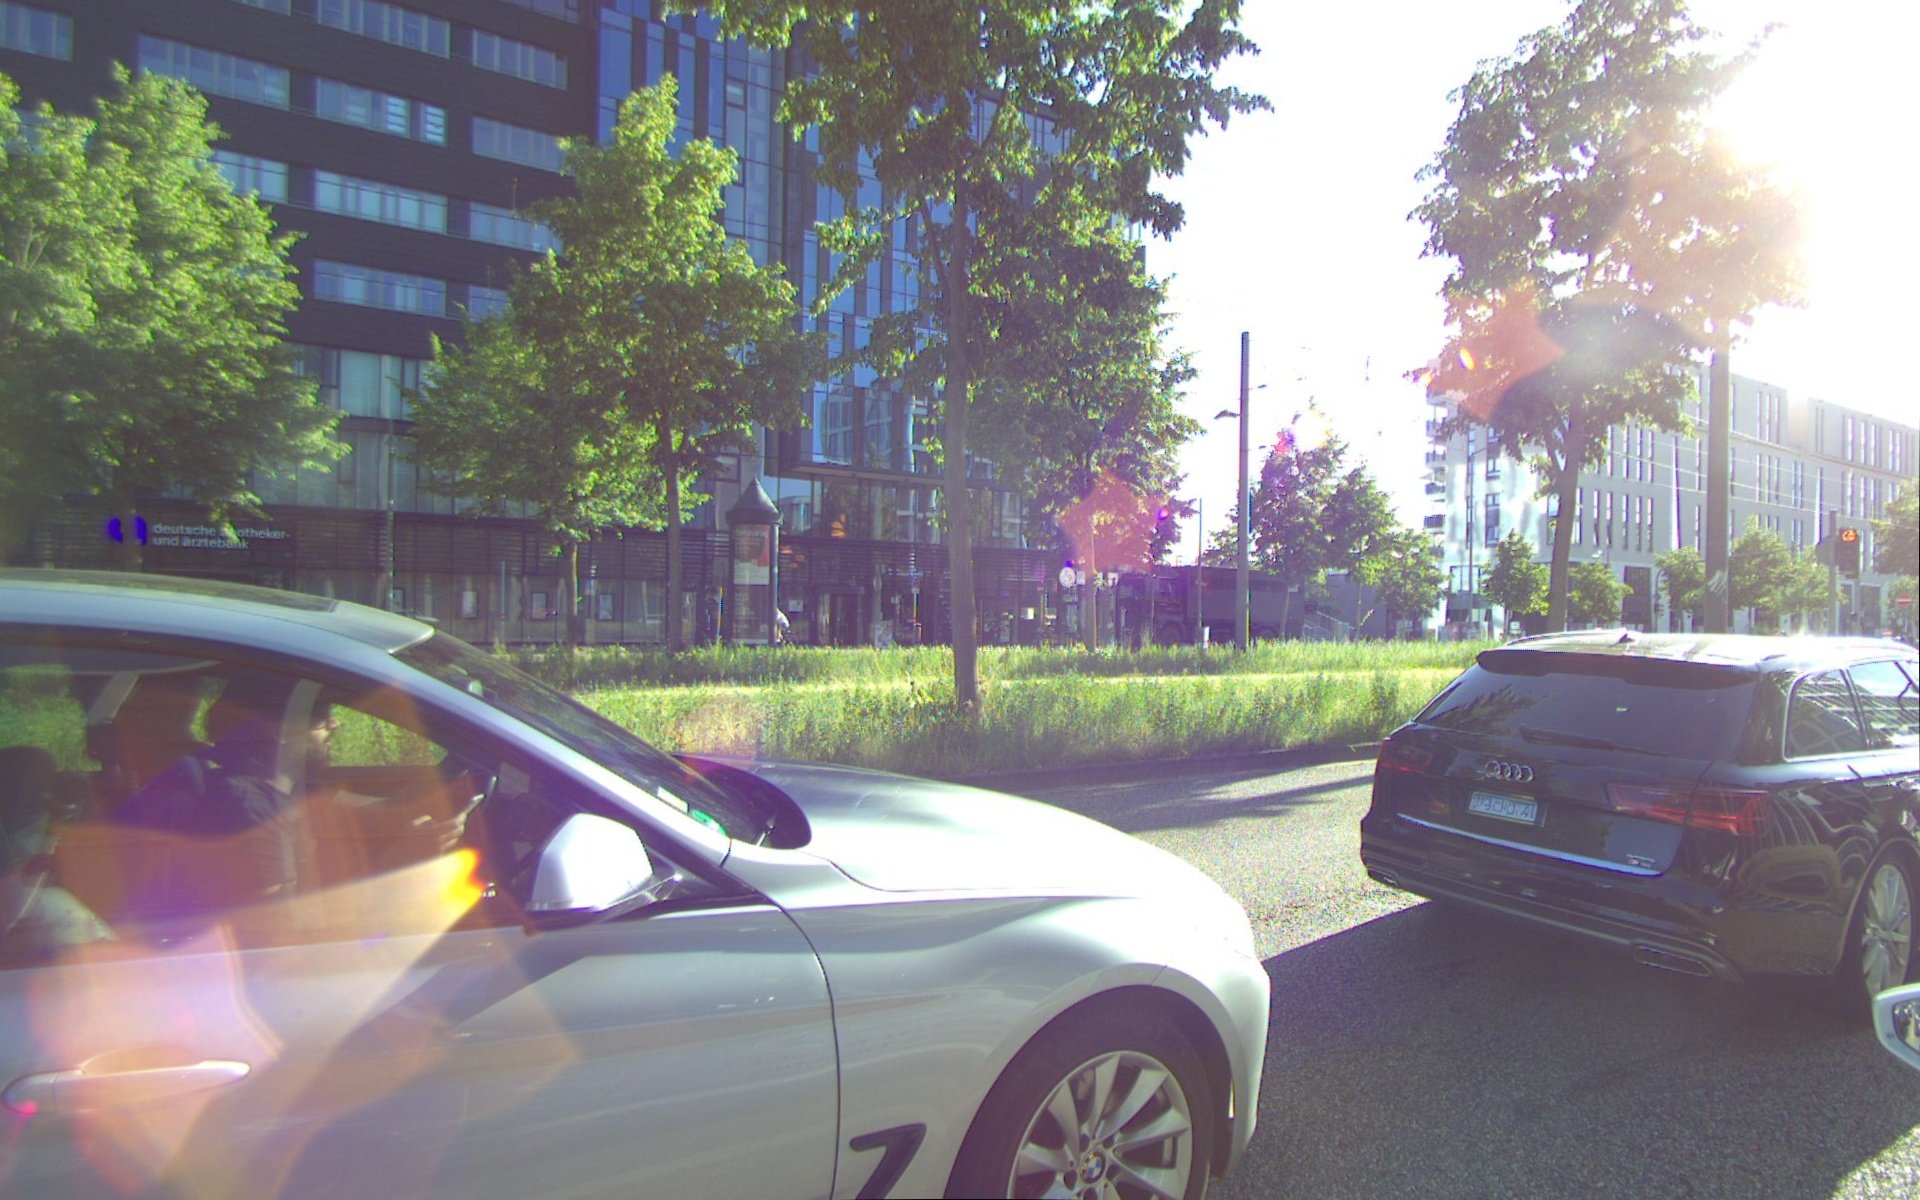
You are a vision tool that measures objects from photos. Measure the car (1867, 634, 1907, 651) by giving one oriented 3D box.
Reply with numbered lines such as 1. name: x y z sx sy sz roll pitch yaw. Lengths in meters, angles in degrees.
1. car: 79.061 3.600 85.676 3.669 1.360 1.572 2 -1 -31

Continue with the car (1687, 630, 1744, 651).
1. car: 51.786 2.804 68.841 4.420 1.360 1.572 2 -1 -31

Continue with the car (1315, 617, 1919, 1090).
1. car: 4.049 0.870 5.108 4.455 1.476 1.799 2 -1 -31

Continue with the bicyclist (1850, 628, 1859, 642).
1. bicyclist: 86.263 3.401 96.896 0.700 1.310 0.572 2 0 -45

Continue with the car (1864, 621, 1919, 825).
1. car: 9.333 0.986 8.194 4.065 1.548 1.799 2 -1 -31

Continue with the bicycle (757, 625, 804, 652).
1. bicycle: -7.378 1.597 41.281 1.826 1.047 0.525 2 0 -30

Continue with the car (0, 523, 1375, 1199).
1. car: -1.472 0.673 1.943 4.689 1.508 1.799 2 -1 -31

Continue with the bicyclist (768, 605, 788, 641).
1. bicyclist: -7.473 0.946 41.247 0.619 1.424 0.490 2 0 -30

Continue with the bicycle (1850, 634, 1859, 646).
1. bicycle: 86.284 3.829 96.926 1.627 1.125 0.523 2 0 -45

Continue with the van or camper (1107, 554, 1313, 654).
1. van or camper: 11.641 0.312 46.196 10.109 4.248 2.740 2 -1 -30
